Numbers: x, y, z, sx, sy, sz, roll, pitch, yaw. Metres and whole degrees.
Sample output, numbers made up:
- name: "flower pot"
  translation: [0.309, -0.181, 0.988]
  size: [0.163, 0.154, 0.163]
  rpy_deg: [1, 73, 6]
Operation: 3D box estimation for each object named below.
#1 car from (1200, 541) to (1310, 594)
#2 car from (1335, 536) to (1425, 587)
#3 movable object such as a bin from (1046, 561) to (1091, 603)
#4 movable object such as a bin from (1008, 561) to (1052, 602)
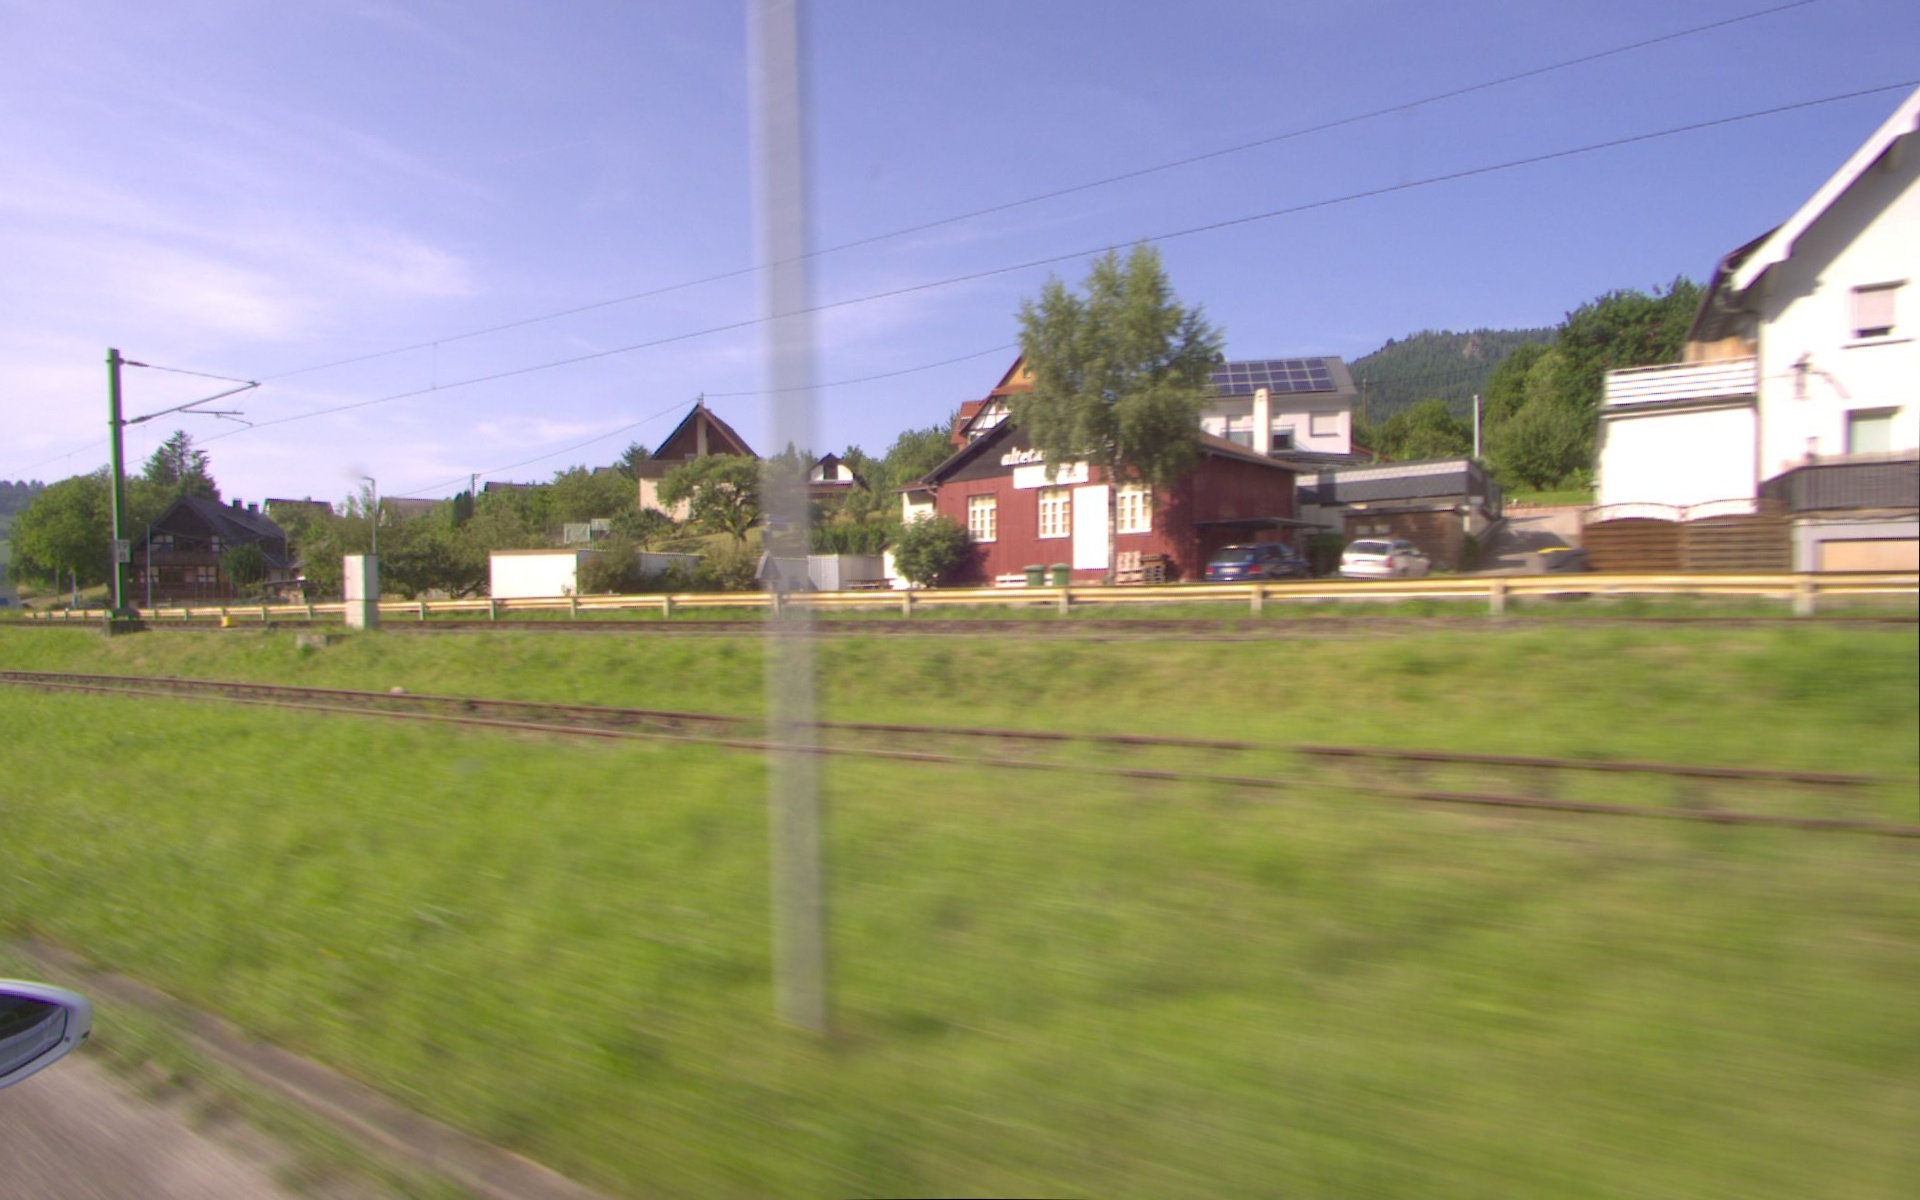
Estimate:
- name: "car"
  translation: [8.534, -0.963, 28.740]
  size: [1.801, 1.395, 3.971]
  rpy_deg: [0, 3, 36]
- name: "car"
  translation: [12.773, -1.190, 30.314]
  size: [1.800, 1.395, 3.974]
  rpy_deg: [0, 3, 34]
- name: "movable object such as a bin"
  translation: [2.883, -0.477, 26.510]
  size: [0.899, 1.064, 0.806]
  rpy_deg: [0, -1, 34]
- name: "movable object such as a bin"
  translation: [1.891, -0.496, 27.067]
  size: [0.899, 1.064, 0.806]
  rpy_deg: [0, -1, 34]
